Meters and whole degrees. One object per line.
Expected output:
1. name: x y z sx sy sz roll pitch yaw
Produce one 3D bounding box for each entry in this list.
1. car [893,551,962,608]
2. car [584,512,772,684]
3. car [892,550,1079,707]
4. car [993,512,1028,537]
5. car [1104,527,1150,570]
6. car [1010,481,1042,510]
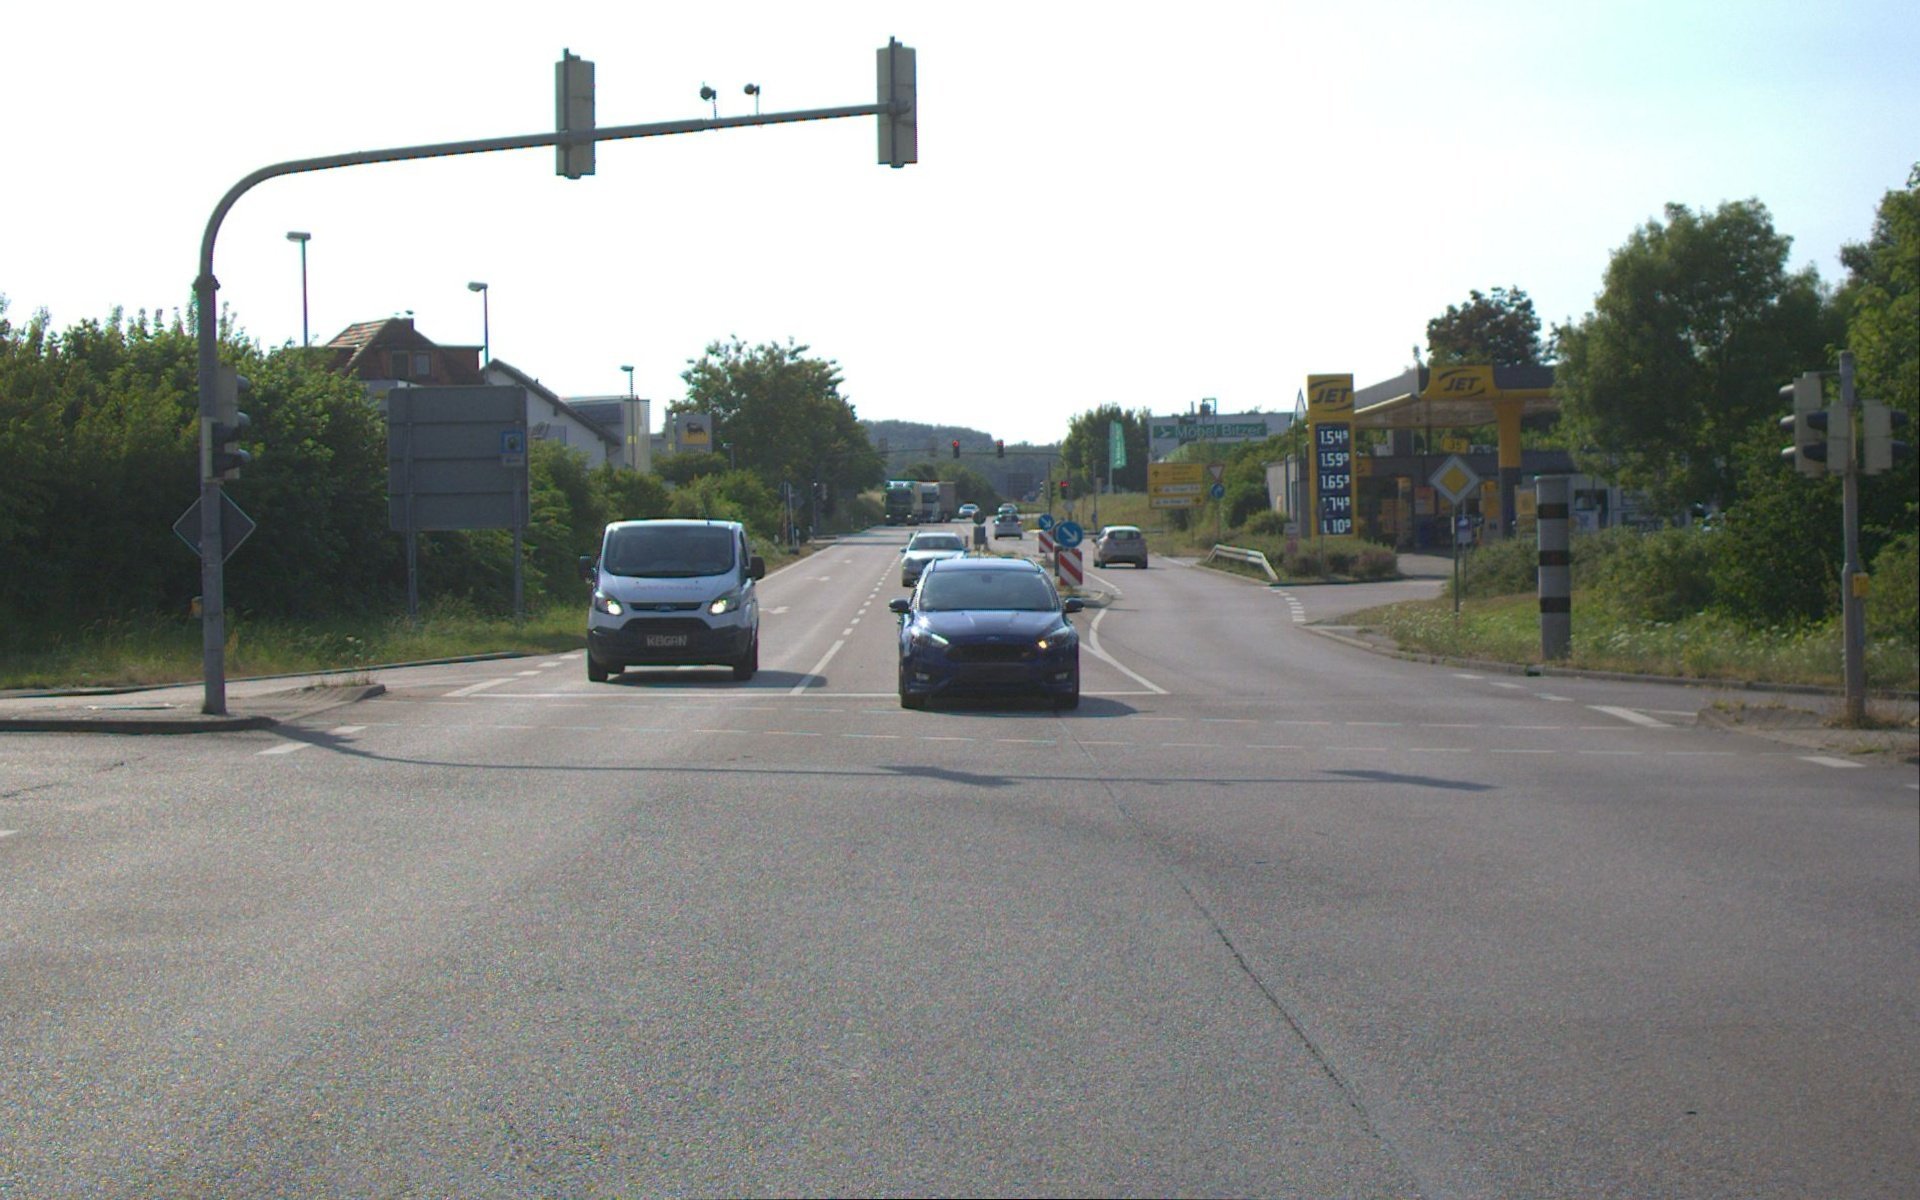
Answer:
1. car: -0.915 -0.572 96.228 1.857 1.508 4.953 1 0 -1
2. car: -3.452 -0.084 42.831 1.900 1.941 4.819 1 2 0
3. car: 0.323 0.269 35.478 1.788 1.492 4.302 1 0 2
4. car: 2.966 -4.457 203.128 1.740 1.347 3.204 1 0 -4
5. car: 5.853 -1.783 120.473 1.550 1.444 3.050 1 0 2
6. car: 4.827 -7.641 251.998 1.993 2.007 4.001 1 0 -4
